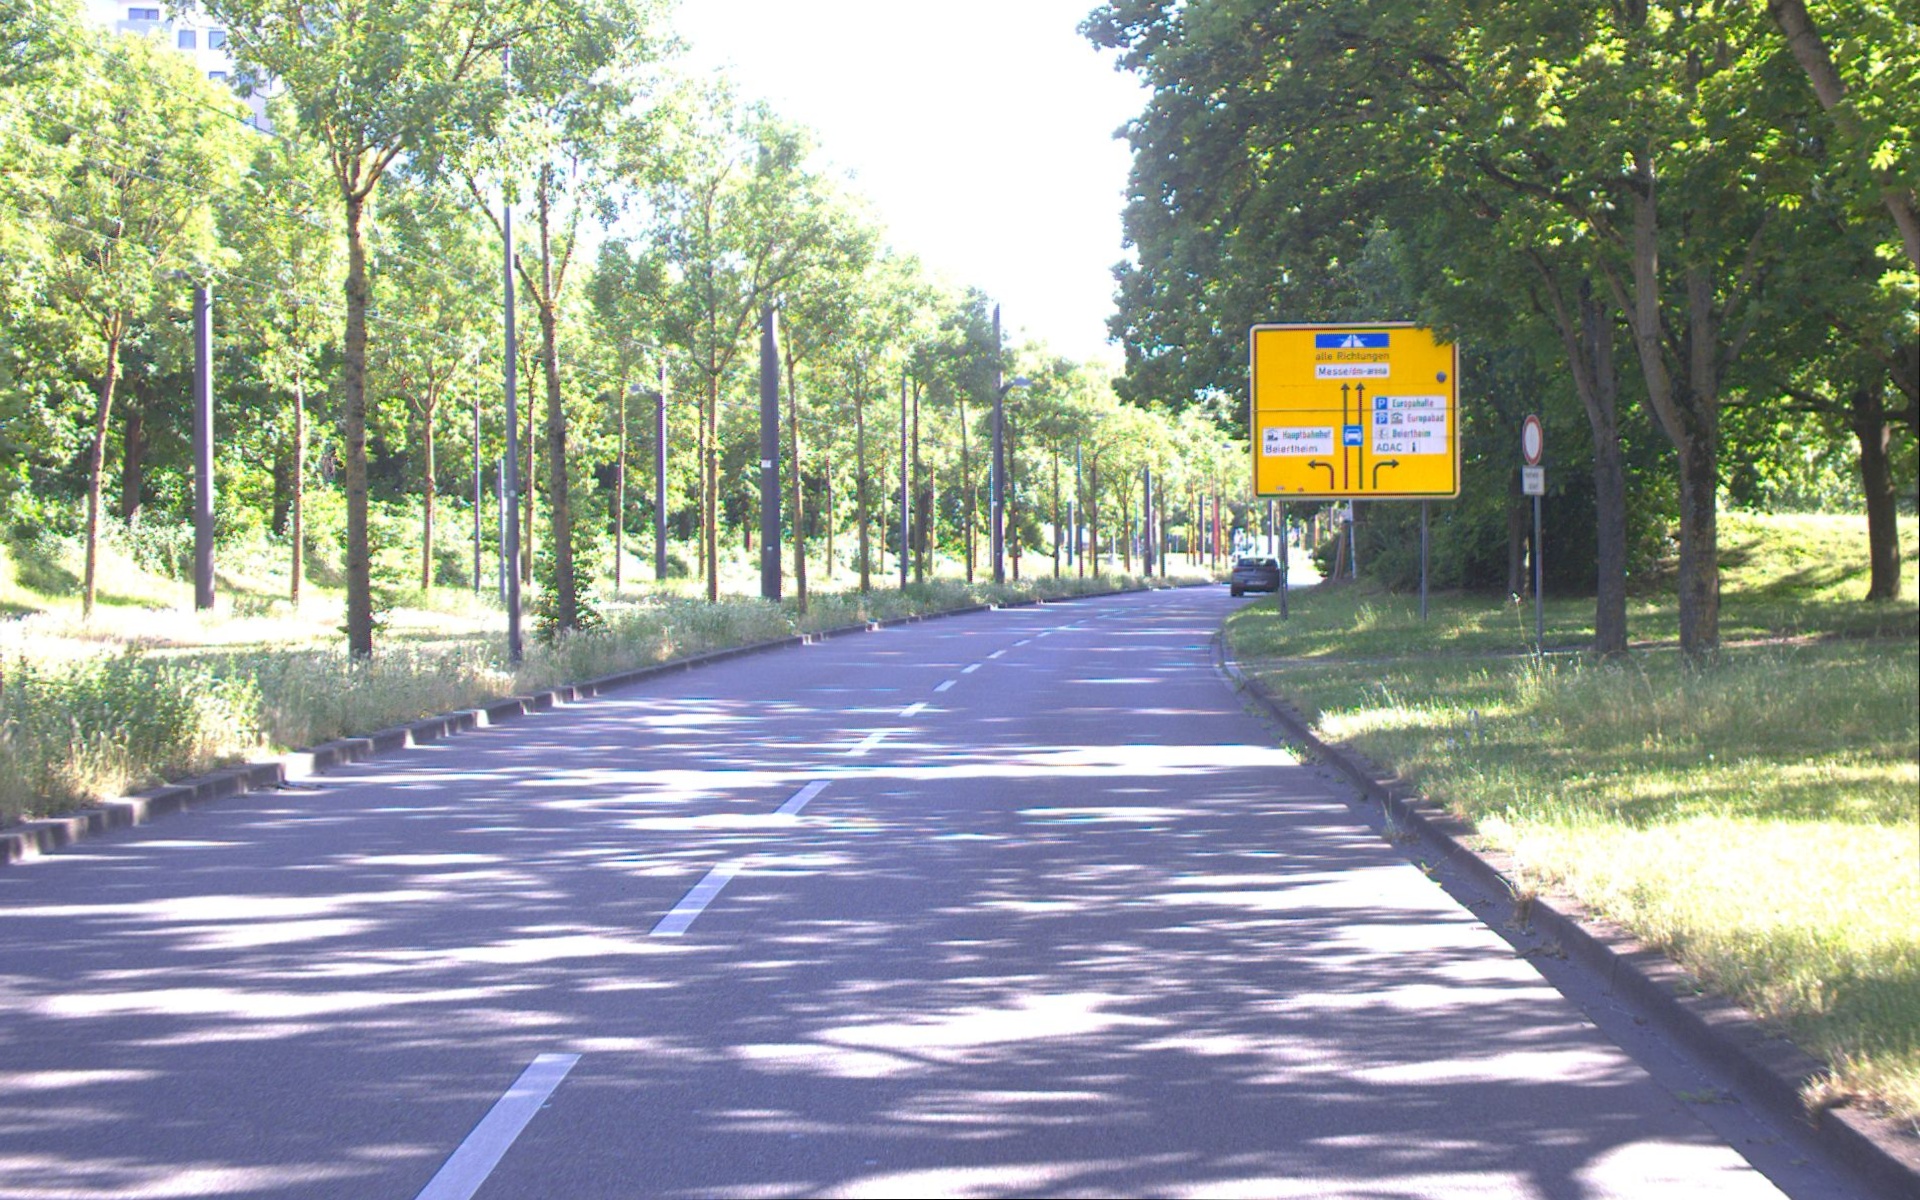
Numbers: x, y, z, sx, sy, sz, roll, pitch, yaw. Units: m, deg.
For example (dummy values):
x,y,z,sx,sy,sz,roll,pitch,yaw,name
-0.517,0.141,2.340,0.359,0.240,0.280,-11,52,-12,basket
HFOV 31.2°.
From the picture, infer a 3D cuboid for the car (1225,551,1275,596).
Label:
x,y,z,sx,sy,sz,roll,pitch,yaw,name
10.144,-0.945,120.137,1.634,1.493,4.234,1,1,6,car
